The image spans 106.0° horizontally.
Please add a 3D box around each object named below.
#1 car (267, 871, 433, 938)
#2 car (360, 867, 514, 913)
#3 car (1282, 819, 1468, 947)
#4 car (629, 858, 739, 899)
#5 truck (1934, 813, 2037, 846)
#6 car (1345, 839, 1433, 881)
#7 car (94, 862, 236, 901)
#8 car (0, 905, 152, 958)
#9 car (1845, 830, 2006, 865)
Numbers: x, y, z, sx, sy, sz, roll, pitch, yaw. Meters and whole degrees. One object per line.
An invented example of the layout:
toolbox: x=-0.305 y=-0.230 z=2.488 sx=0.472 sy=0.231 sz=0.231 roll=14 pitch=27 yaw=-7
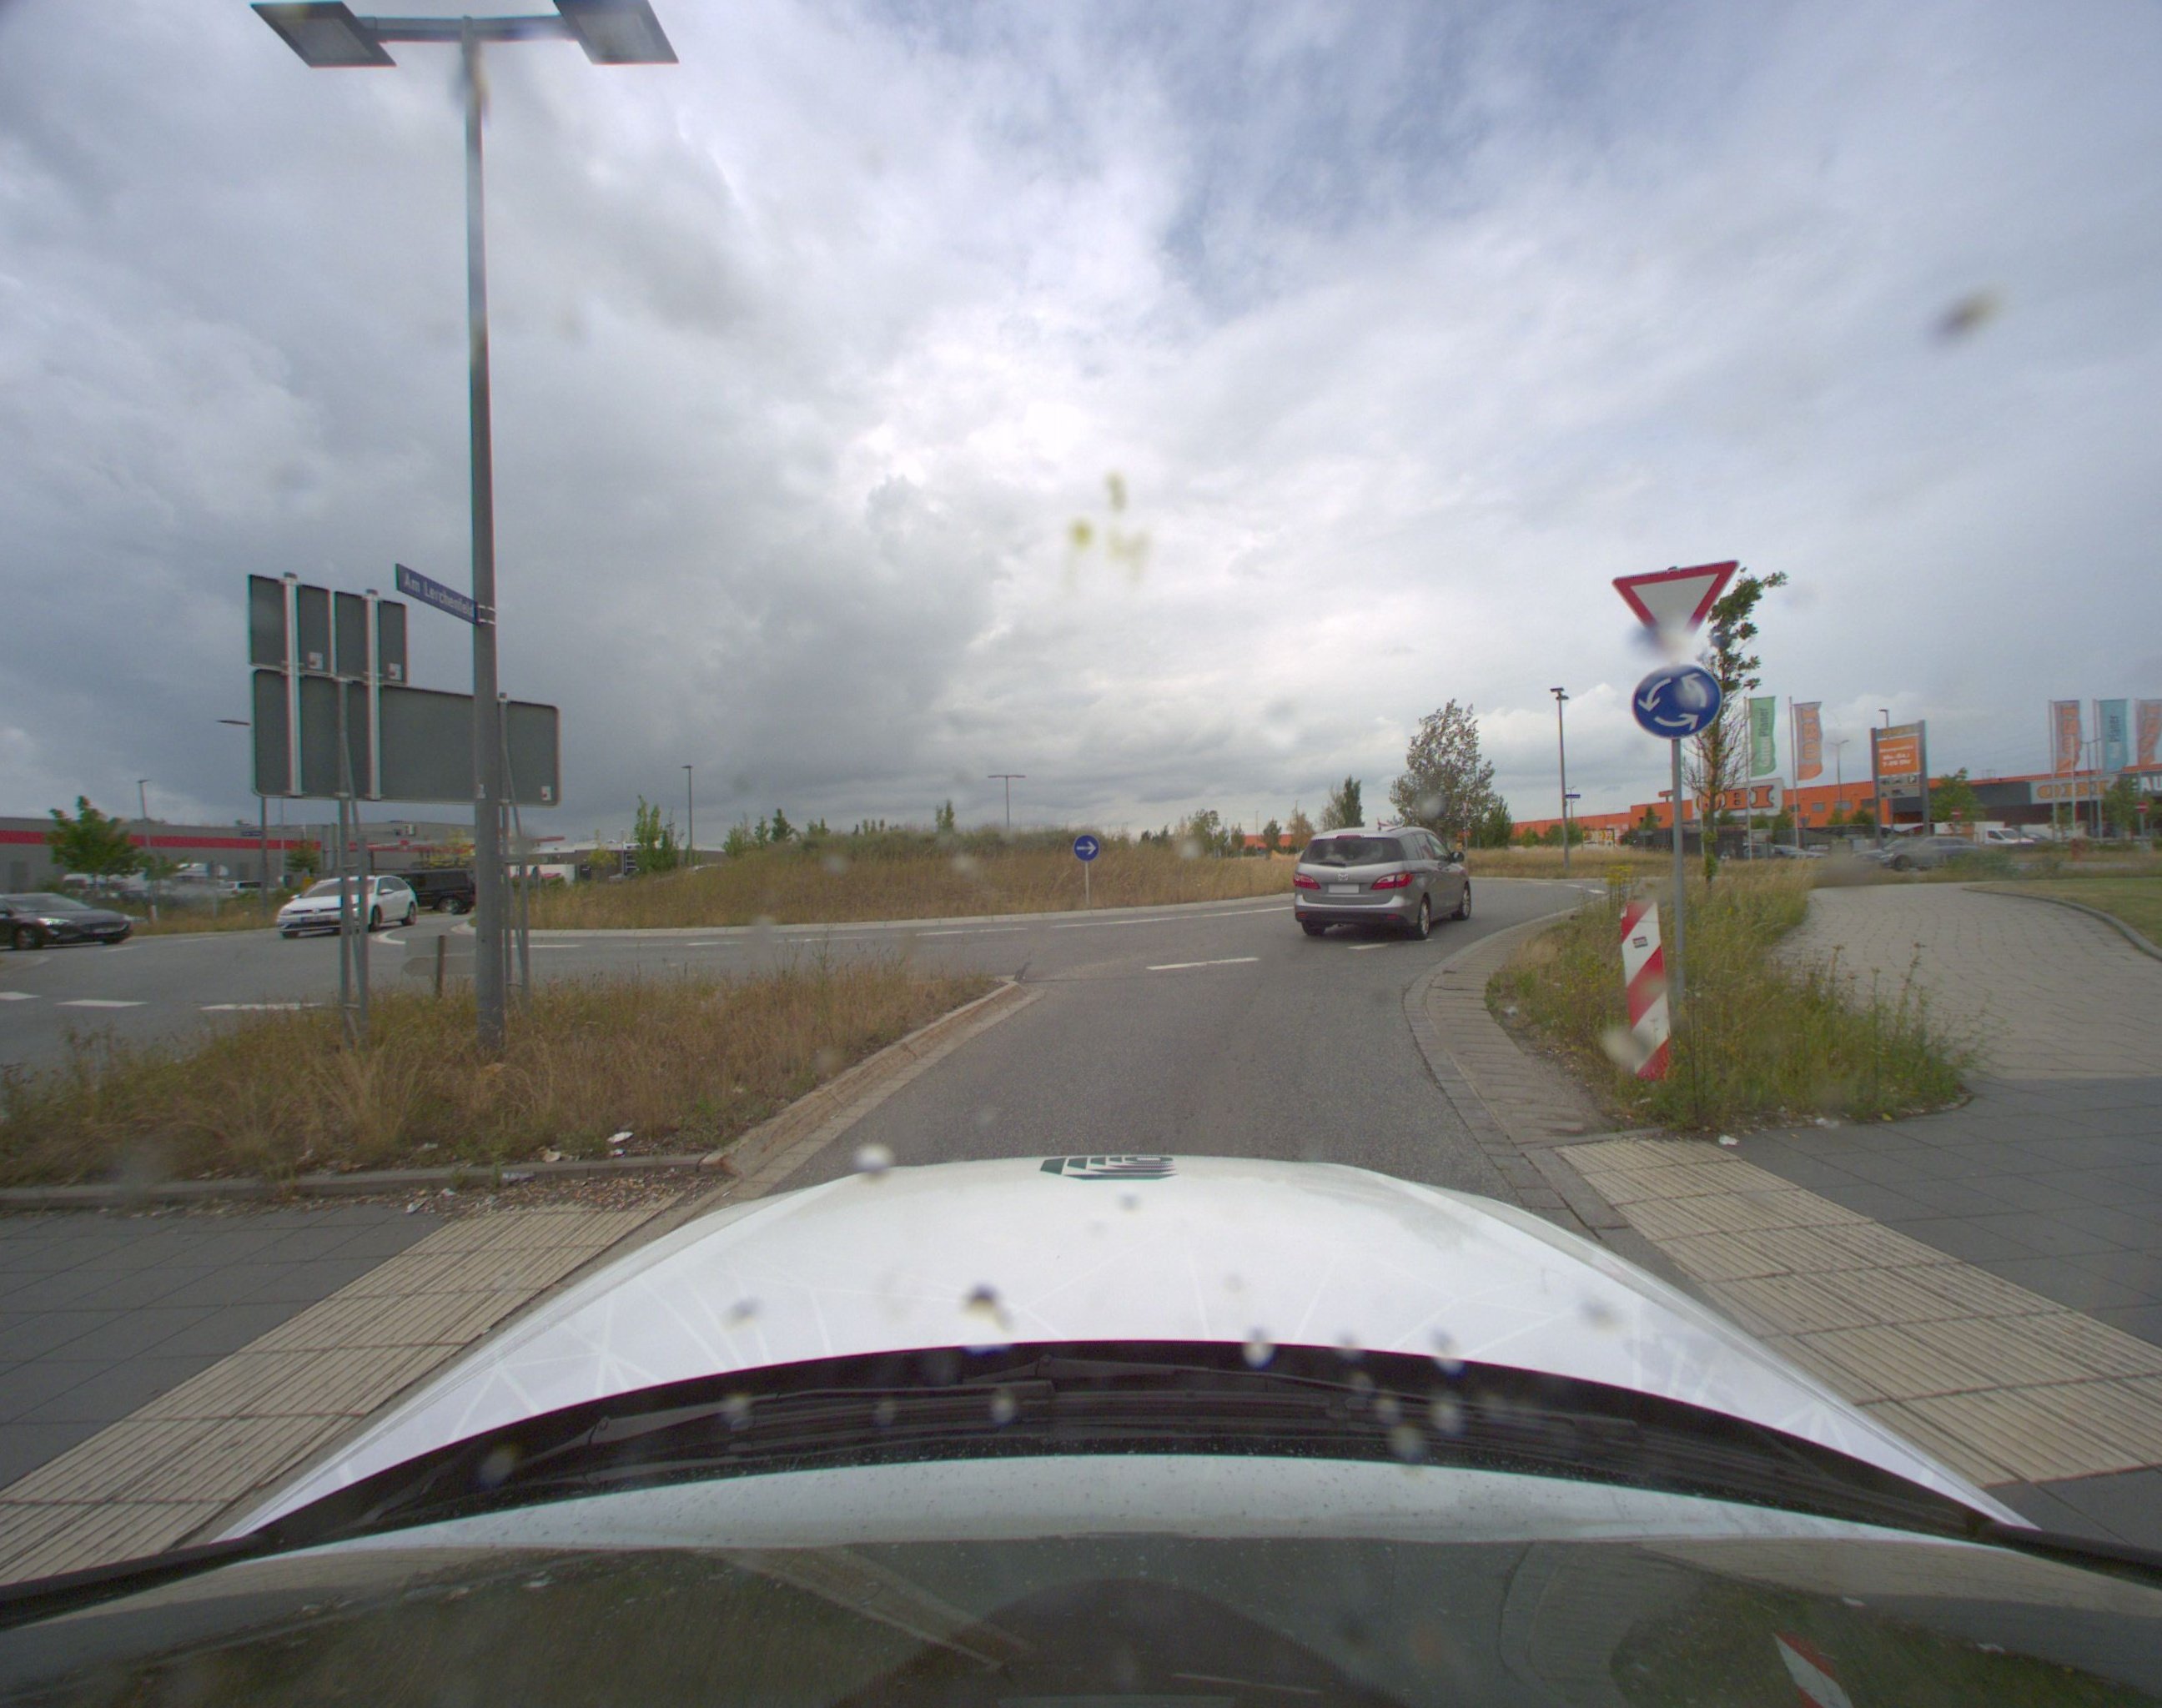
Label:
car: x=-19.190 y=1.251 z=21.665 sx=1.729 sy=1.408 sz=4.610 roll=-3 pitch=1 yaw=-22
car: x=-26.012 y=1.424 z=33.123 sx=4.657 sy=1.753 sz=1.711 roll=1 pitch=-2 yaw=-30
car: x=4.709 y=0.293 z=12.660 sx=1.721 sy=1.598 sz=4.024 roll=1 pitch=3 yaw=35
car: x=-18.122 y=1.115 z=37.330 sx=1.711 sy=1.558 sz=4.112 roll=-3 pitch=1 yaw=40
truck: x=78.678 y=-2.051 z=70.957 sx=2.431 sy=2.484 sz=5.533 roll=0 pitch=-2 yaw=-9
car: x=11.636 y=0.177 z=31.065 sx=1.733 sy=1.403 sz=3.995 roll=-1 pitch=1 yaw=-2
car: x=-70.395 y=2.155 z=62.902 sx=2.458 sy=2.820 sz=7.678 roll=0 pitch=-2 yaw=-4
car: x=-26.954 y=1.982 z=21.021 sx=3.584 sy=1.251 sz=1.670 roll=0 pitch=-2 yaw=-11
car: x=35.536 y=-0.256 z=34.377 sx=4.650 sy=1.404 sz=1.931 roll=0 pitch=0 yaw=5
